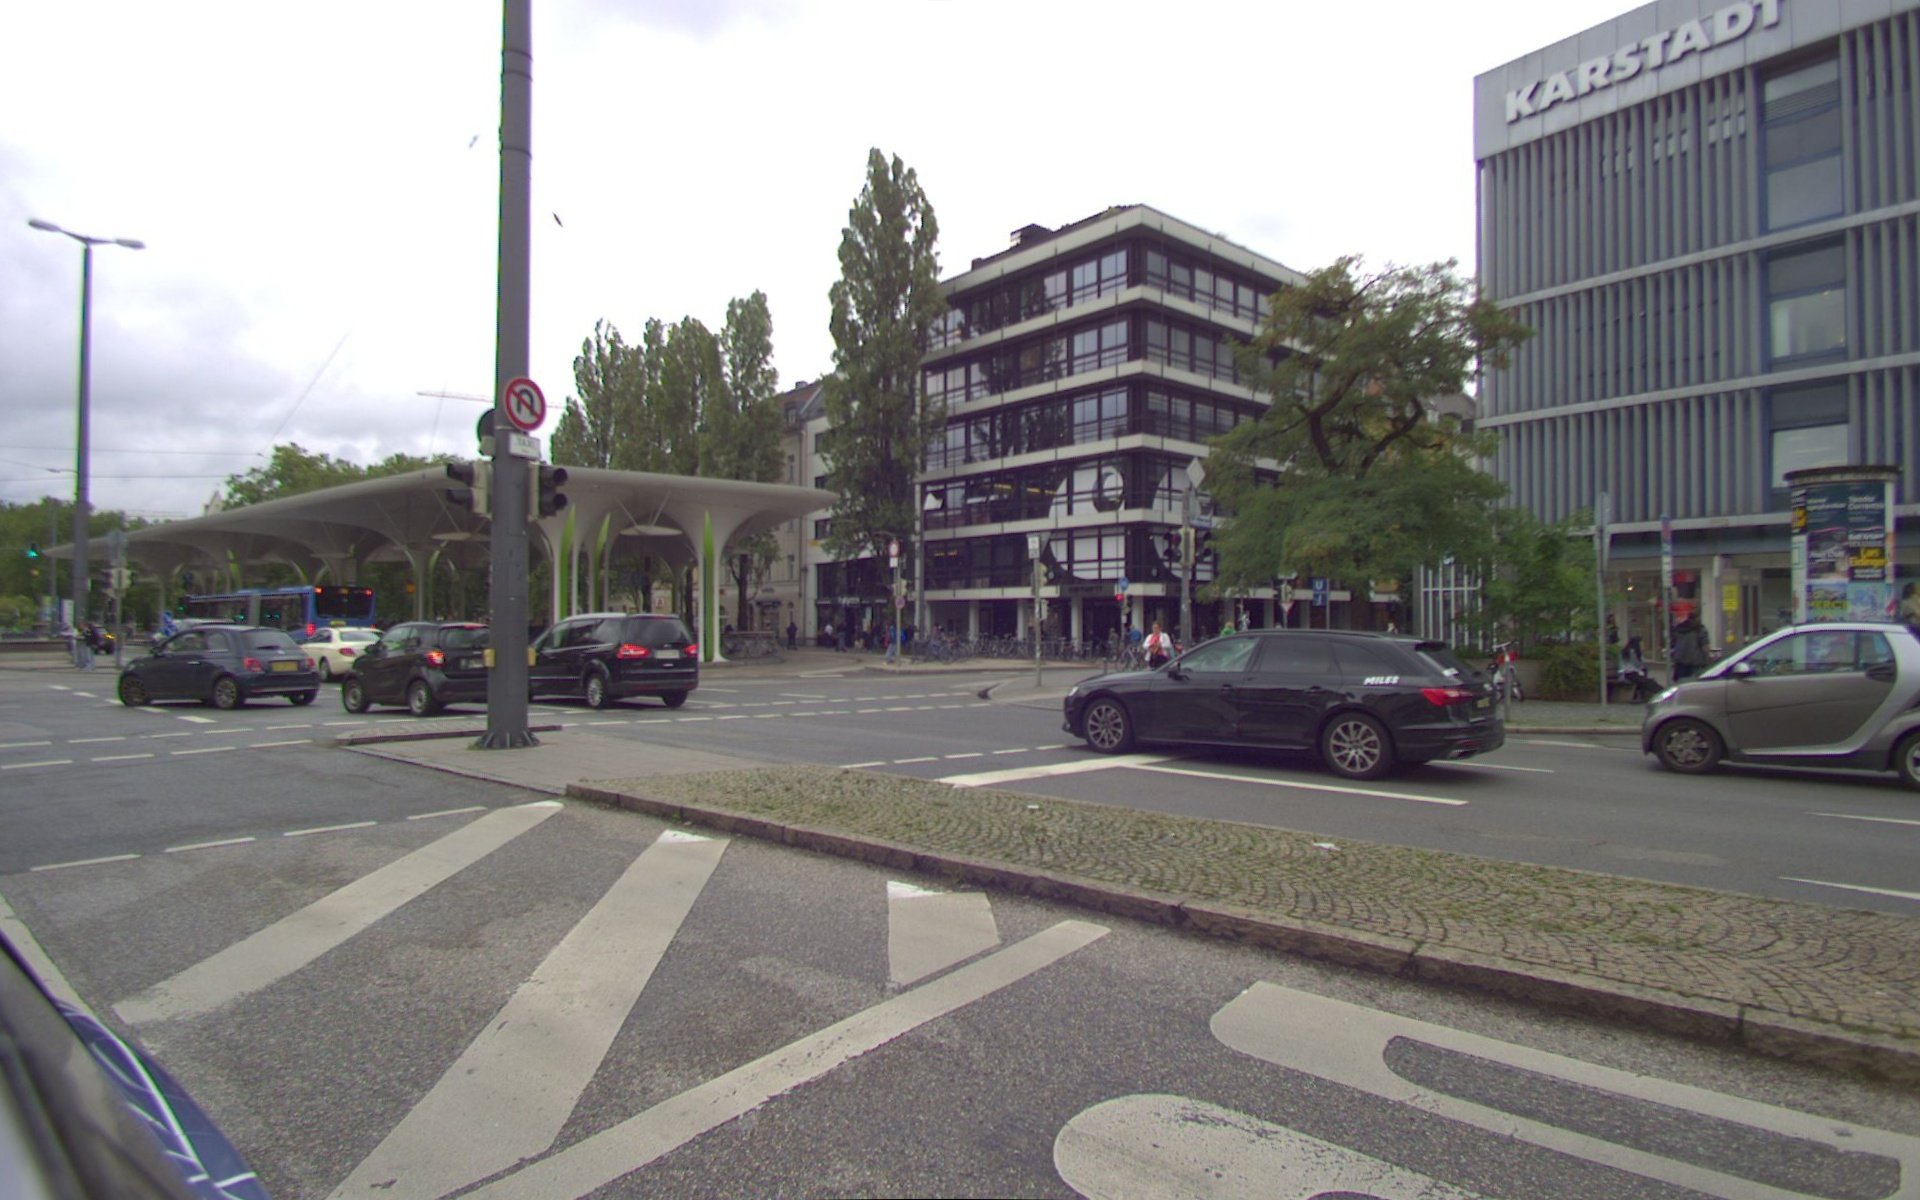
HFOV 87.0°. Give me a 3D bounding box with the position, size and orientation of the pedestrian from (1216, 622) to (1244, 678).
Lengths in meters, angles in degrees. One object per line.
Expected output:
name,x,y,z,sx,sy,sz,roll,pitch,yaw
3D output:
pedestrian,8.575,1.577,32.175,0.647,1.748,0.757,-1,-2,33

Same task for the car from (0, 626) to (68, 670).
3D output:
car,-34.877,1.743,37.746,3.998,1.481,1.898,-1,0,41

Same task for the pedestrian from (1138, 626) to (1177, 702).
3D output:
pedestrian,4.163,1.331,21.312,0.754,1.563,0.636,-1,0,15

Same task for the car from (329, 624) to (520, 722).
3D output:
car,-9.013,1.165,17.036,2.775,1.518,1.547,-1,-2,27

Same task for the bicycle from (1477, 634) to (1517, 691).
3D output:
bicycle,9.902,1.132,18.652,0.419,1.024,1.282,-2,-3,38

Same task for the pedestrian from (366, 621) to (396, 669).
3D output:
pedestrian,-21.334,1.643,37.267,0.787,1.762,0.702,-2,-3,39

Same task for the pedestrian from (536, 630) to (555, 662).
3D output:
pedestrian,-17.551,1.948,42.854,0.591,1.348,0.542,-2,-2,40

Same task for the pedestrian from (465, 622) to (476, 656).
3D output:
pedestrian,-20.191,1.618,41.713,0.257,1.387,0.299,-2,-2,38

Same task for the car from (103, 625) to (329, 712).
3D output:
car,-13.632,1.236,18.599,3.358,1.491,1.620,-1,-3,16

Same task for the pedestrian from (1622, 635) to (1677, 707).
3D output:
pedestrian,13.029,1.319,19.120,0.773,1.318,0.537,-2,-2,41

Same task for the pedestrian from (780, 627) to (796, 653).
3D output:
pedestrian,-11.533,2.682,67.690,0.821,1.712,0.907,1,-2,-28

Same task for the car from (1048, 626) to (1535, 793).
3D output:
car,3.394,1.008,10.943,4.613,1.427,1.973,-2,-2,41

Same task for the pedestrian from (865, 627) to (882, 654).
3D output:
pedestrian,-5.505,2.594,64.588,0.788,1.737,0.827,1,-2,-38

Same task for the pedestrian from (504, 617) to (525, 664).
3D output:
pedestrian,-17.927,1.626,40.721,0.656,1.865,0.790,1,-2,-30

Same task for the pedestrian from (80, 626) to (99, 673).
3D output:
pedestrian,-26.863,1.525,31.221,0.380,1.430,0.352,-2,-3,40

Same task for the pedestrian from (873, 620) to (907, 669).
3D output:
pedestrian,-2.614,1.648,37.869,0.980,1.791,0.850,-2,-2,41

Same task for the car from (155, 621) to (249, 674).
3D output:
car,-26.247,1.587,34.991,3.998,1.696,1.824,-1,0,41

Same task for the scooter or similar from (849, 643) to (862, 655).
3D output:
scooter or similar,-6.620,3.115,64.254,0.511,0.720,0.681,1,-2,-39

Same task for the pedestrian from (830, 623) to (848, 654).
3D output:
pedestrian,-7.160,2.269,59.924,0.937,1.786,0.986,0,-2,-17

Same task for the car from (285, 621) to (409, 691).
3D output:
car,-16.556,1.443,27.278,3.998,1.696,1.738,-1,0,41

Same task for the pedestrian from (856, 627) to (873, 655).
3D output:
pedestrian,-6.020,2.601,63.772,0.788,1.737,0.827,1,-2,-38

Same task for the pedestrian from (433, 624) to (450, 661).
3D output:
pedestrian,-21.425,1.762,41.812,0.425,1.514,0.484,-1,-2,29

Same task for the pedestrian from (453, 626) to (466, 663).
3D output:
pedestrian,-20.536,1.813,41.504,0.316,1.514,0.331,-1,-2,31

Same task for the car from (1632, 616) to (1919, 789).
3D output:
car,8.480,0.941,10.060,2.747,1.527,1.651,-2,-3,43

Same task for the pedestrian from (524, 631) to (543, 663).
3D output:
pedestrian,-17.817,1.953,42.272,0.591,1.348,0.542,-2,-2,40

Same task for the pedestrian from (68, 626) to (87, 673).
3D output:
pedestrian,-27.240,1.529,31.239,0.380,1.430,0.352,-2,-3,40

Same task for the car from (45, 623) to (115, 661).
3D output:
car,-39.871,1.867,45.845,3.997,1.549,1.824,-1,0,40

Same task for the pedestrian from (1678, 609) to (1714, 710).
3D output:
pedestrian,12.773,1.025,17.561,0.459,1.712,0.426,-1,0,40

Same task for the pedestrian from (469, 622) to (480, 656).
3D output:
pedestrian,-20.202,1.618,42.116,0.257,1.387,0.299,-2,-2,38

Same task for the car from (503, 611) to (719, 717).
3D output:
car,-6.707,1.135,19.263,4.305,1.785,1.973,-1,-3,41

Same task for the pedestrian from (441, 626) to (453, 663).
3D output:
pedestrian,-20.911,1.818,41.255,0.316,1.514,0.317,-1,-2,31

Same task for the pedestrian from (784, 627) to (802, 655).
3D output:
pedestrian,-10.500,2.552,63.549,0.822,1.712,0.906,1,-2,-35
